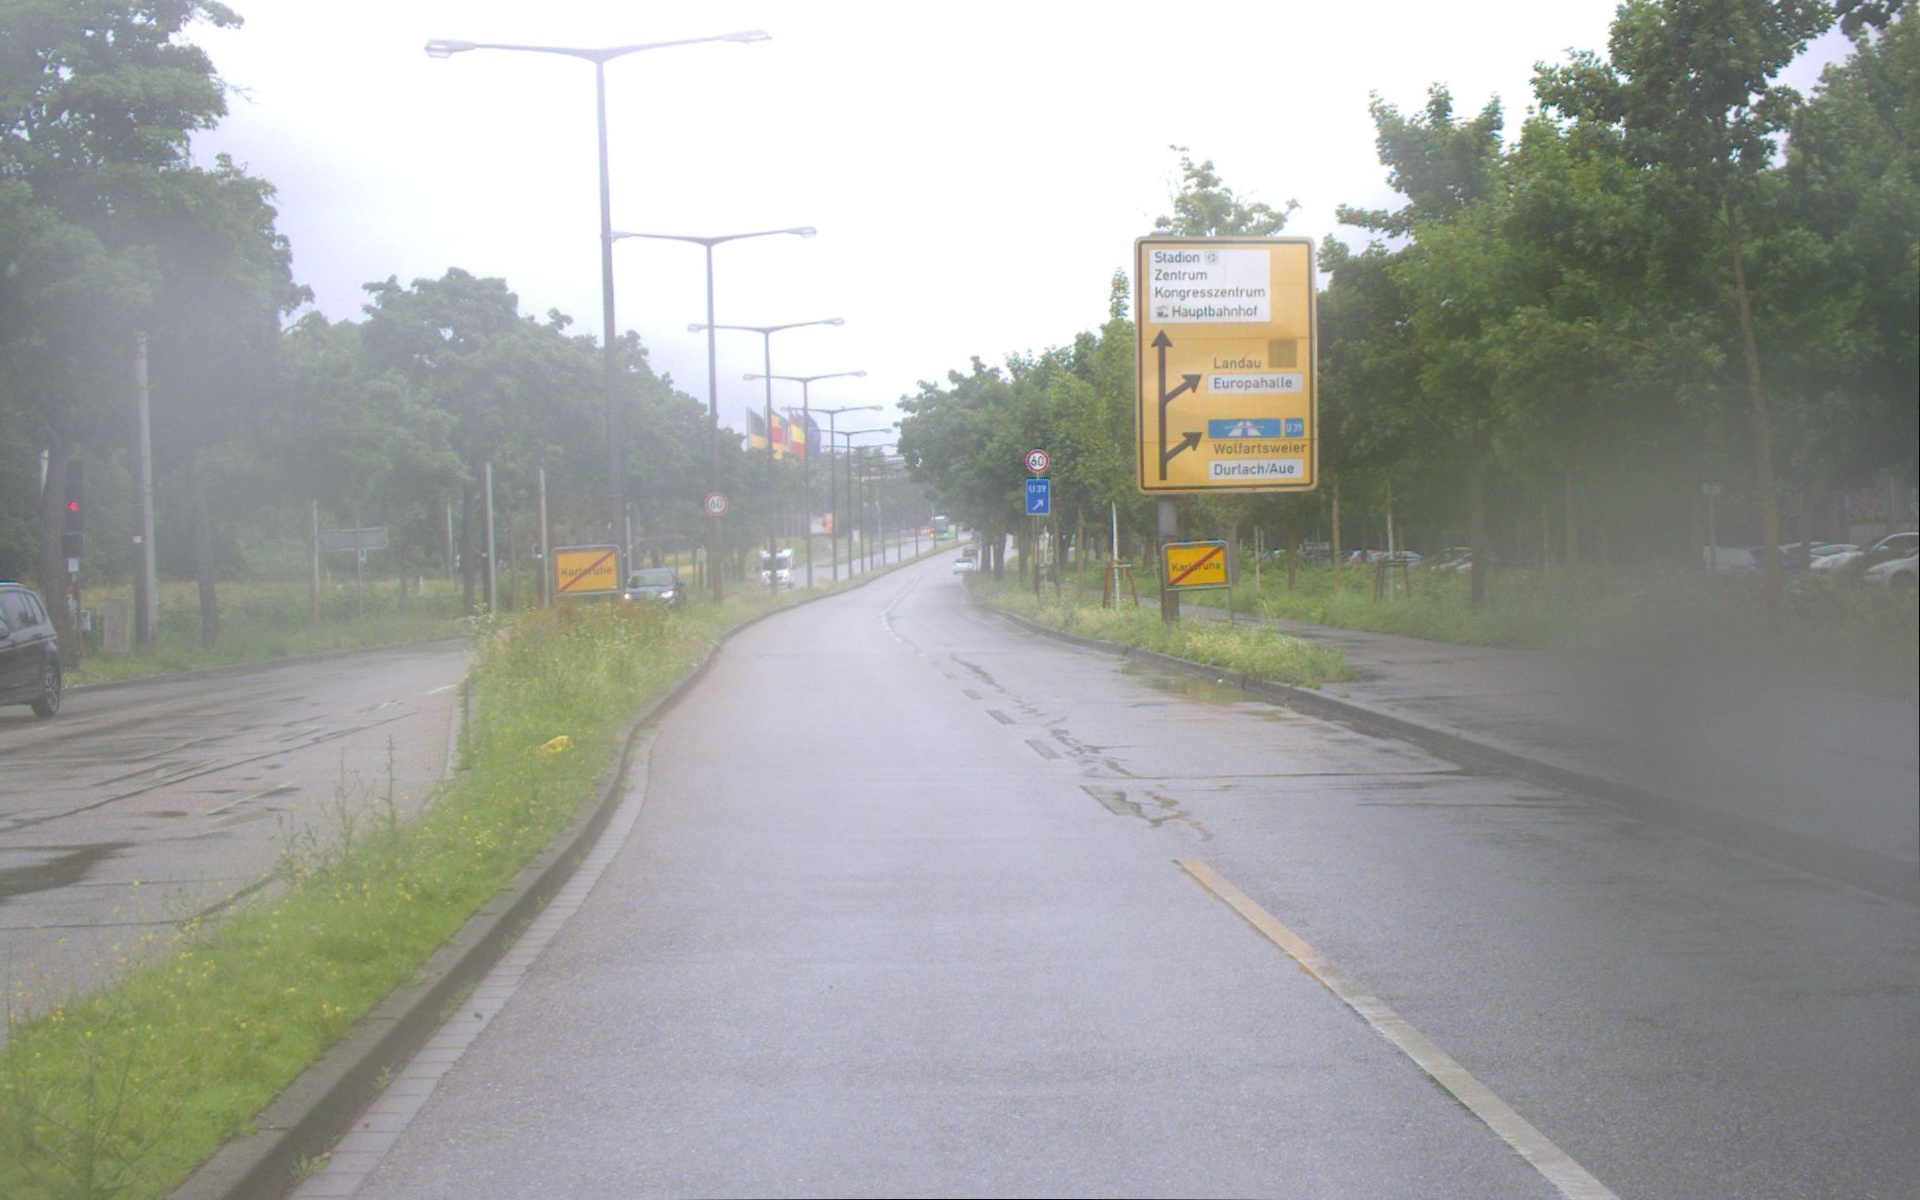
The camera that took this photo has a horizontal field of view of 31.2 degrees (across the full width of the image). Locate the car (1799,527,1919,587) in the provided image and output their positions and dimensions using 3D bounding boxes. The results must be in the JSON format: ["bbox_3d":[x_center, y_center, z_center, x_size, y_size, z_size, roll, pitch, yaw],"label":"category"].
[{"bbox_3d":[27.060,-1.231,100.399,4.569,1.699,2.000,0,0,-4],"label":"car"}]

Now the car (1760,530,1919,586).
[{"bbox_3d":[26.580,-1.248,103.183,4.569,1.639,2.000,0,0,-6],"label":"car"}]

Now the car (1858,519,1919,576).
[{"bbox_3d":[27.293,-1.427,94.821,4.570,1.552,1.945,0,0,3],"label":"car"}]

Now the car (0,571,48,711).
[{"bbox_3d":[-12.219,0.539,40.263,1.707,1.636,4.331,-3,1,2],"label":"car"}]

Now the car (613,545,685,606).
[{"bbox_3d":[-9.142,-0.739,101.295,1.743,1.644,4.136,-4,1,-1],"label":"car"}]

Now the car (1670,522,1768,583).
[{"bbox_3d":[19.822,-1.259,89.909,1.745,1.440,4.122,-2,2,2],"label":"car"}]
